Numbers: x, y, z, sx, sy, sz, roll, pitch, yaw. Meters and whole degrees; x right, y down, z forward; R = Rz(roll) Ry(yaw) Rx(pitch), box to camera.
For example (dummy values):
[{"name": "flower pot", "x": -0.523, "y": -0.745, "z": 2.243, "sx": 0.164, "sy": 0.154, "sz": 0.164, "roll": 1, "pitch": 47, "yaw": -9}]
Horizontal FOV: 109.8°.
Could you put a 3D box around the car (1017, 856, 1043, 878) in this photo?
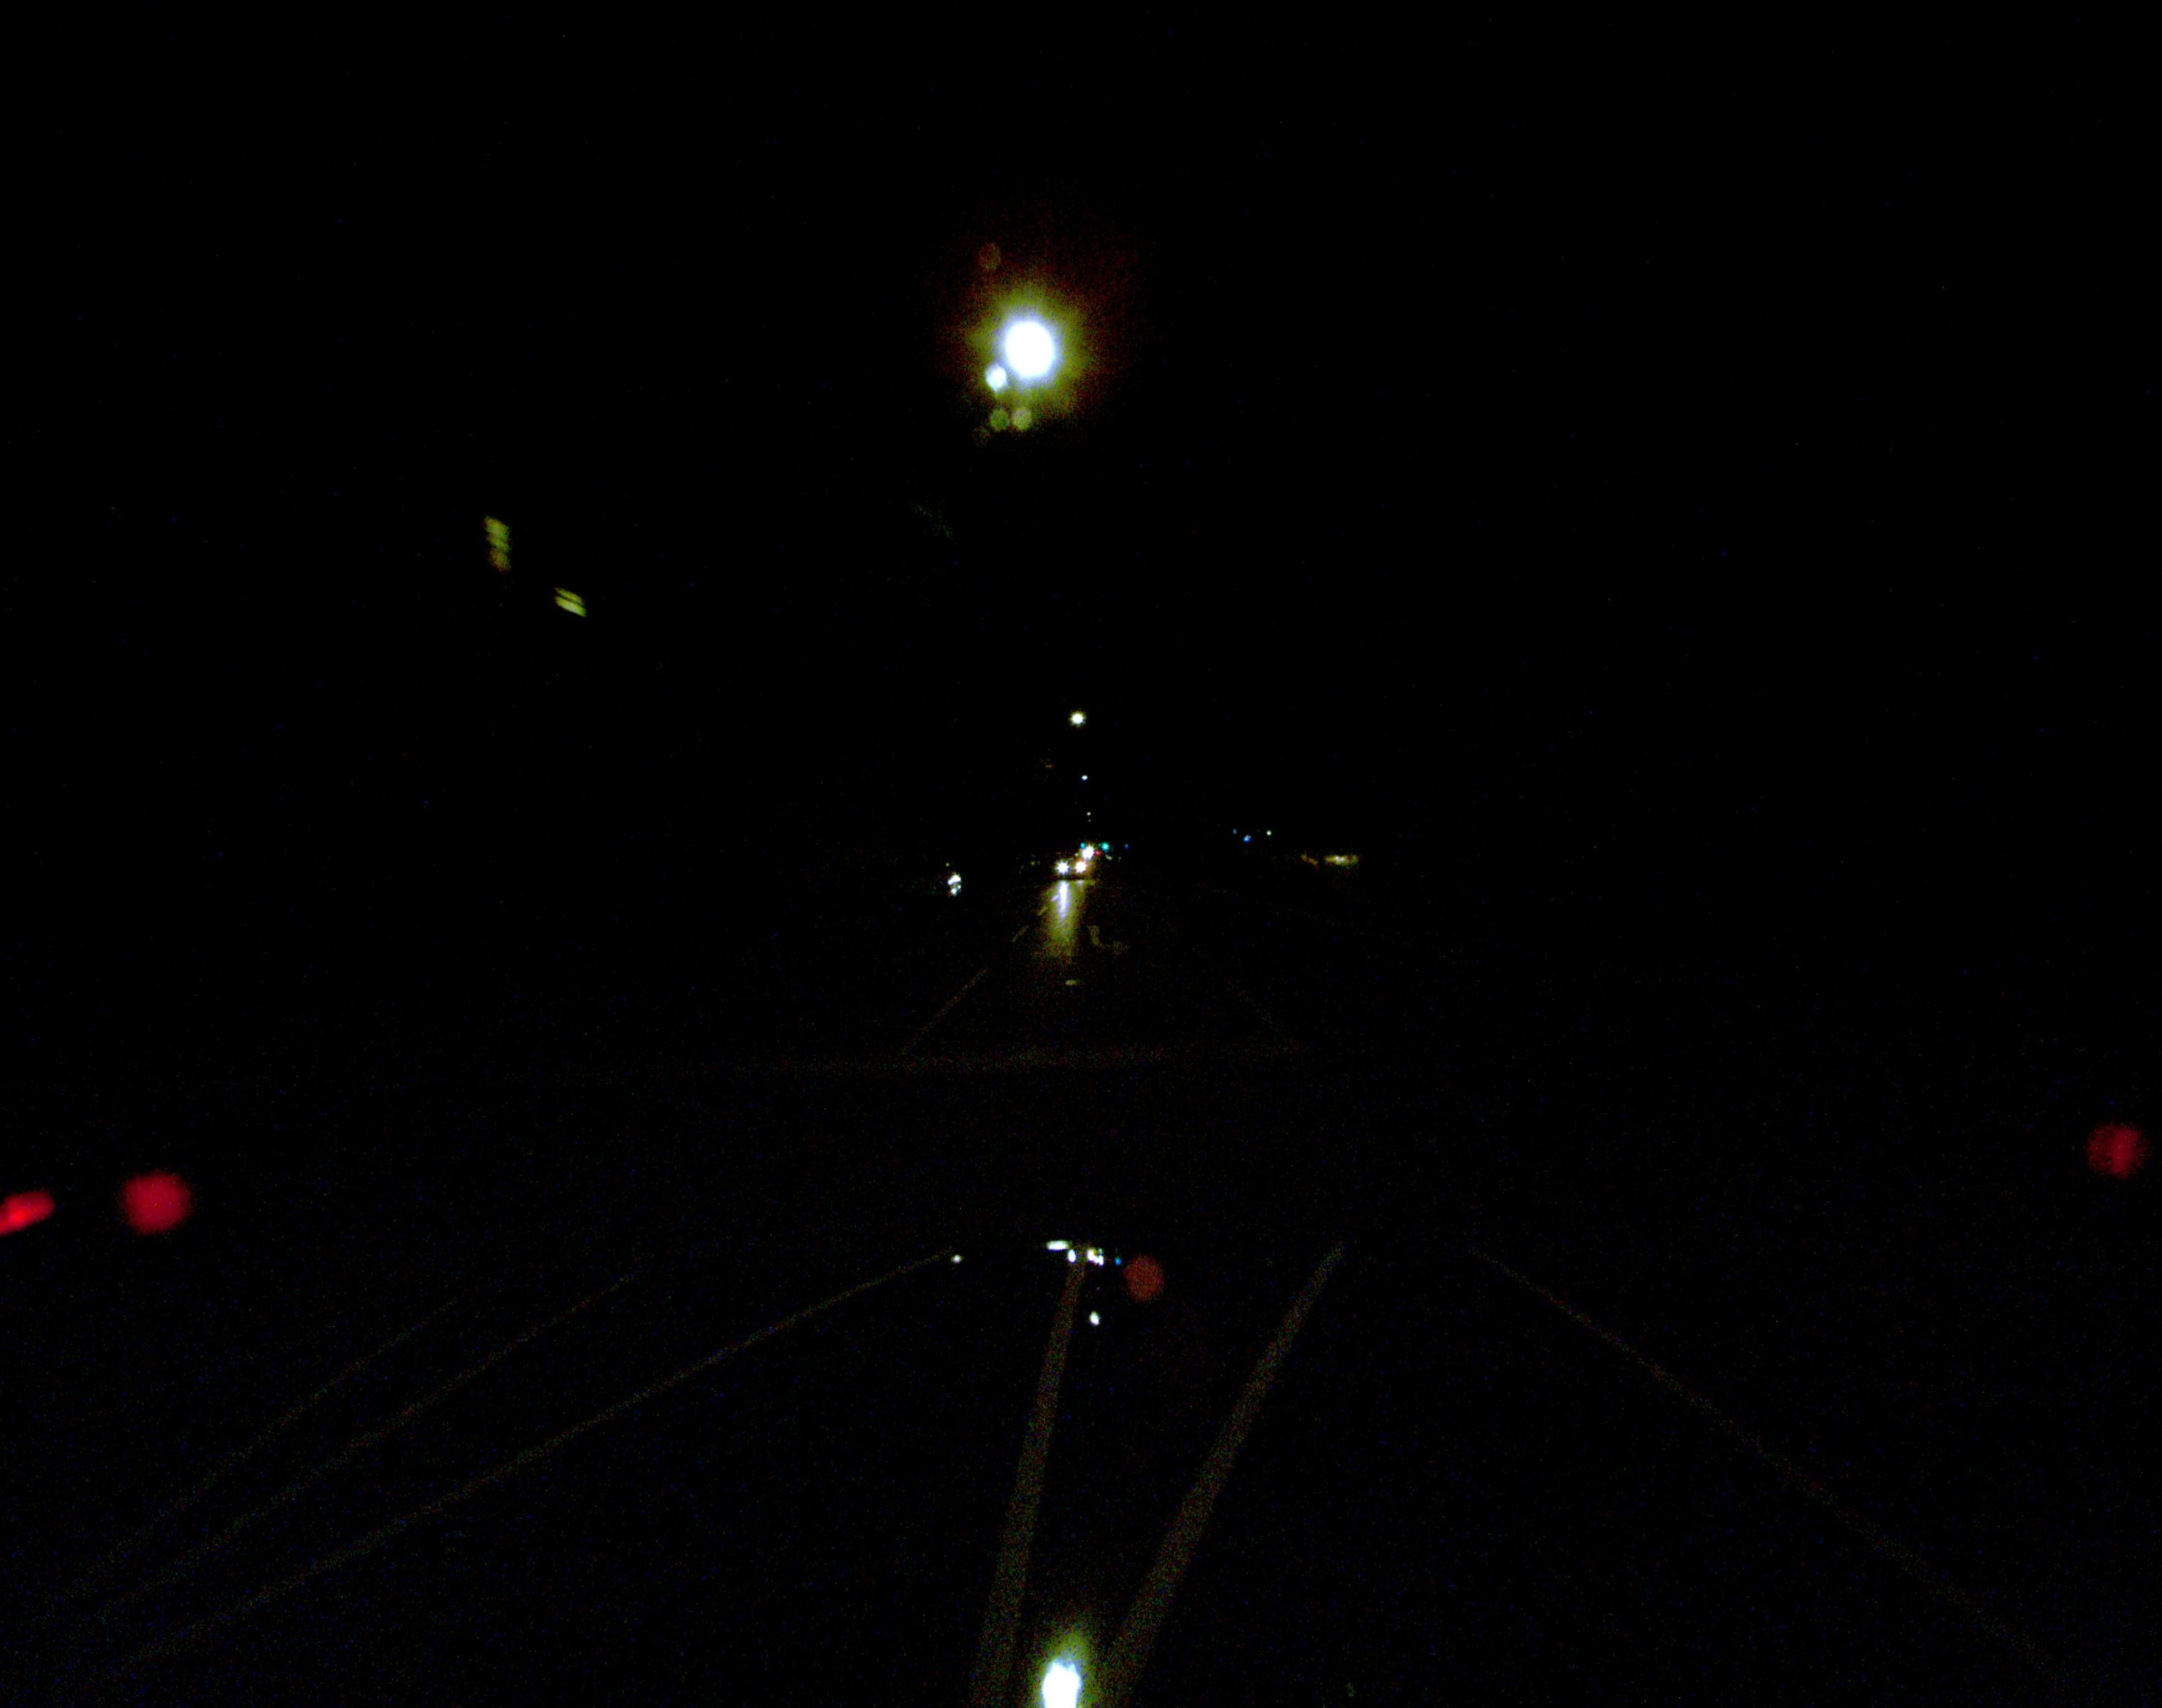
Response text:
[{"name": "car", "x": -3.880, "y": 0.965, "z": 58.354, "sx": 1.536, "sy": 1.583, "sz": 3.556, "roll": 0, "pitch": 0, "yaw": 3}]

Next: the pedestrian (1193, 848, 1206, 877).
[{"name": "pedestrian", "x": 6.376, "y": 0.428, "z": 40.824, "sx": 0.561, "sy": 1.521, "sz": 0.590, "roll": -3, "pitch": 1, "yaw": 1}]

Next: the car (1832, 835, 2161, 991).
[{"name": "car", "x": 10.421, "y": 0.498, "z": 7.616, "sx": 3.997, "sy": 1.355, "sz": 1.802, "roll": -1, "pitch": 0, "yaw": 0}]

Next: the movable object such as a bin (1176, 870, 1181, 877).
[{"name": "movable object such as a bin", "x": 5.372, "y": 1.056, "z": 41.997, "sx": 0.231, "sy": 0.350, "sz": 0.466, "roll": -3, "pitch": 0, "yaw": 3}]

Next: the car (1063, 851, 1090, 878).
[{"name": "car", "x": -0.305, "y": 0.645, "z": 47.670, "sx": 1.513, "sy": 1.493, "sz": 3.049, "roll": -4, "pitch": 1, "yaw": -1}]

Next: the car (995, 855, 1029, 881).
[{"name": "car", "x": -4.068, "y": 0.798, "z": 44.902, "sx": 1.536, "sy": 1.407, "sz": 3.409, "roll": 0, "pitch": 0, "yaw": 3}]

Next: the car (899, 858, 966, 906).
[{"name": "car", "x": -5.027, "y": 0.911, "z": 26.091, "sx": 1.626, "sy": 1.485, "sz": 3.408, "roll": 0, "pitch": 0, "yaw": 0}]

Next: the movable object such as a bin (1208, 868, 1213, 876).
[{"name": "movable object such as a bin", "x": 6.965, "y": 0.947, "z": 40.878, "sx": 0.231, "sy": 0.404, "sz": 0.466, "roll": -3, "pitch": 0, "yaw": 3}]

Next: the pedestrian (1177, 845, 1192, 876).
[{"name": "pedestrian", "x": 5.578, "y": 0.336, "z": 40.906, "sx": 0.649, "sy": 1.632, "sz": 0.748, "roll": -3, "pitch": 1, "yaw": 3}]
